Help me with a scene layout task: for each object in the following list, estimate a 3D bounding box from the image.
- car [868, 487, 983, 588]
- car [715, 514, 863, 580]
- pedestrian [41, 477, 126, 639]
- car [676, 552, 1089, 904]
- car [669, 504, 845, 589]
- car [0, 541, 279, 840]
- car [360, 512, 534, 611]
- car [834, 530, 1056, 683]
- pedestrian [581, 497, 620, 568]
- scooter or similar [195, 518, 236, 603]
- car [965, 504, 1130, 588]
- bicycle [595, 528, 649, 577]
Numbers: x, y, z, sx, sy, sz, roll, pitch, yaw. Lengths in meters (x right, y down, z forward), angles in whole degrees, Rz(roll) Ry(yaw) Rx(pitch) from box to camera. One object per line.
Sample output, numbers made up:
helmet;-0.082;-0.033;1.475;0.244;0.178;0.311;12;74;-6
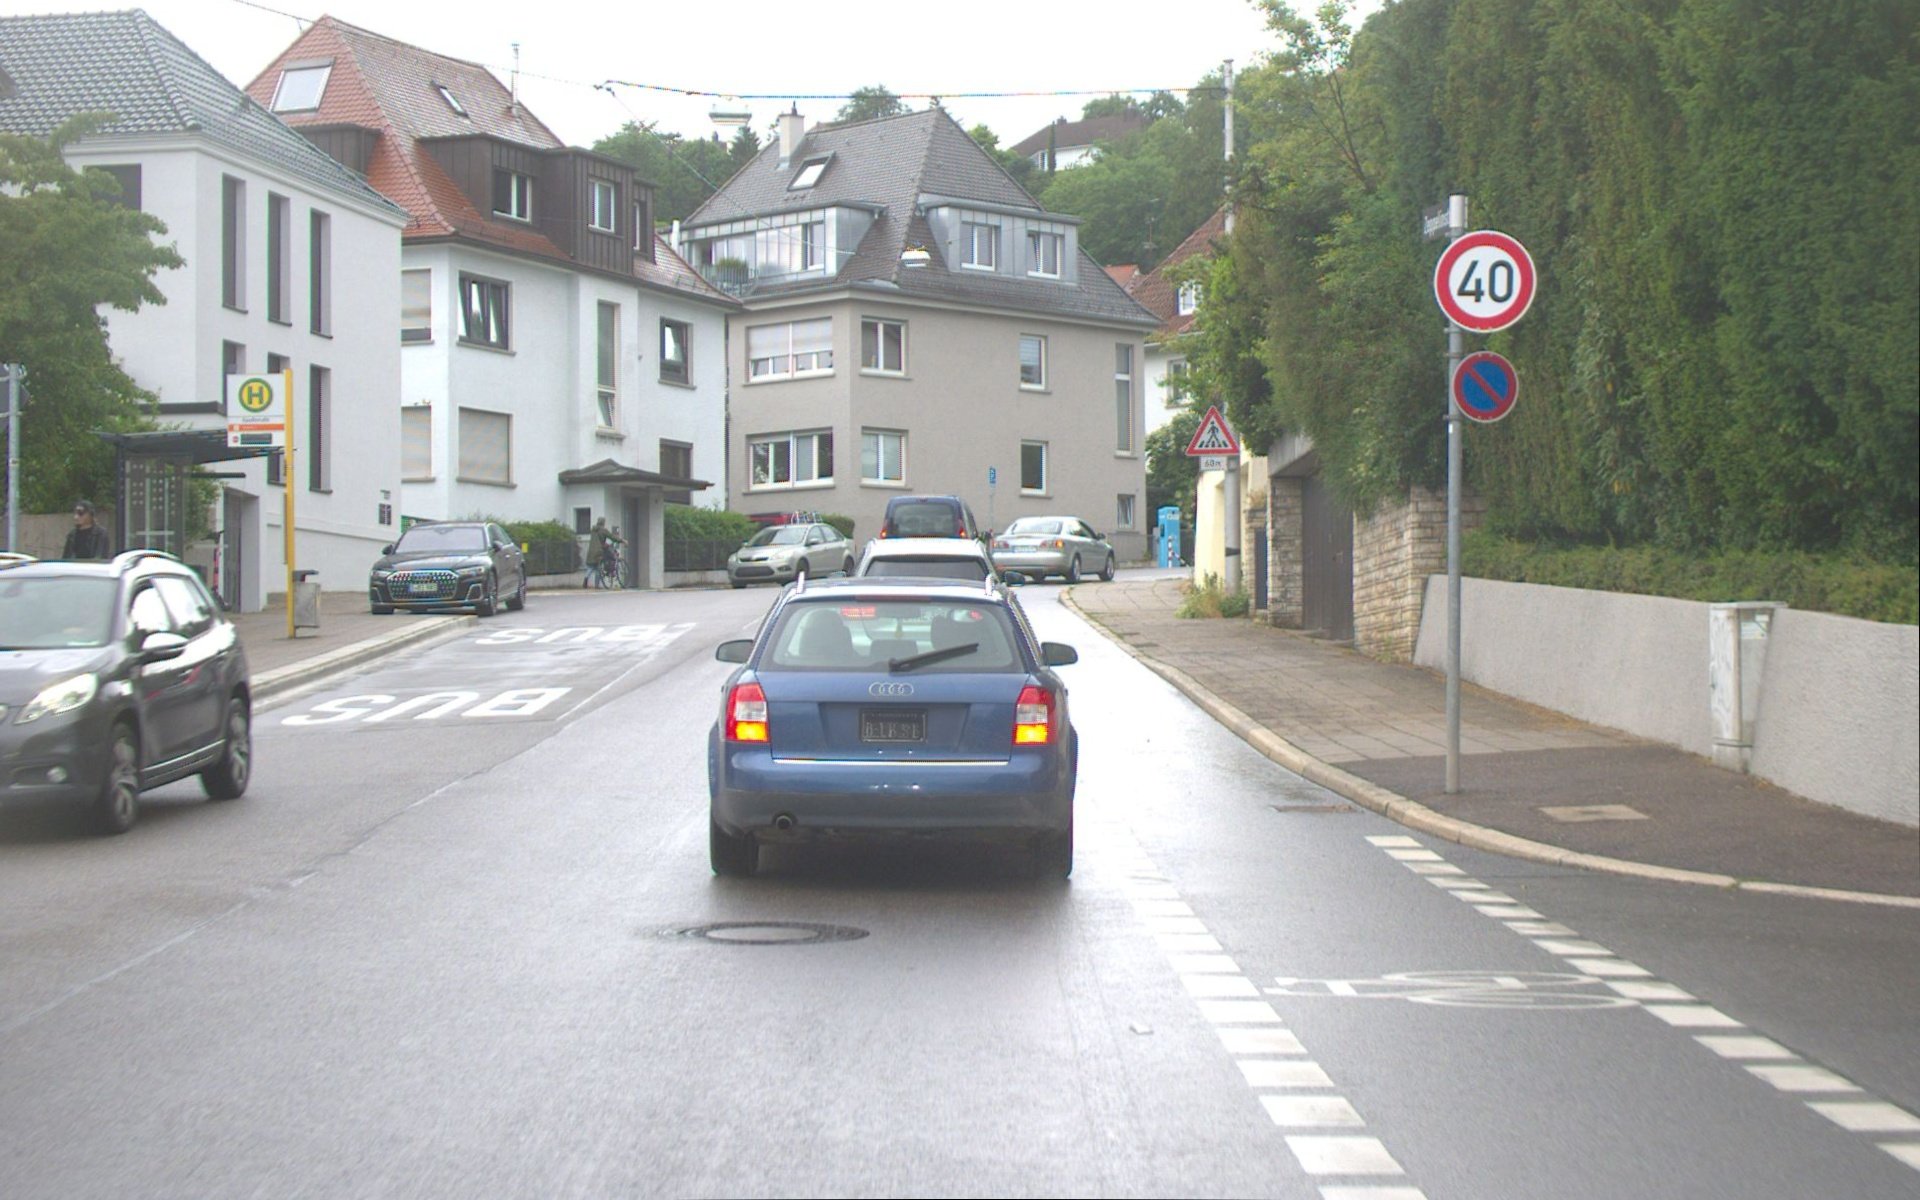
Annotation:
car;-0.618;-1.121;61.249;1.928;1.700;4.000;-1;1;-1
car;-3.969;-1.255;80.374;1.838;1.420;4.225;-2;1;22
pedestrian;-10.141;-0.487;39.798;0.786;1.850;0.728;1;1;-1
car;-0.348;0.543;17.339;1.811;1.434;4.082;1;2;0
car;-5.295;-1.386;89.530;3.992;1.816;1.997;-5;0;28
car;-5.305;0.463;19.881;1.734;1.540;4.000;-2;1;3
car;-8.163;-0.650;55.112;1.829;1.480;4.991;-1;1;2
car;-0.206;0.044;33.398;1.811;1.356;4.001;1;0;-5
pedestrian;-8.030;-1.507;76.816;0.493;1.571;0.947;0;2;18
scooter or similar;-10.874;-0.581;50.224;0.337;1.215;1.123;0;1;0
car;1.897;-1.167;73.565;1.931;1.700;3.994;-1;1;28
bicycle;-7.547;-1.062;76.746;0.456;1.063;1.920;0;2;18
